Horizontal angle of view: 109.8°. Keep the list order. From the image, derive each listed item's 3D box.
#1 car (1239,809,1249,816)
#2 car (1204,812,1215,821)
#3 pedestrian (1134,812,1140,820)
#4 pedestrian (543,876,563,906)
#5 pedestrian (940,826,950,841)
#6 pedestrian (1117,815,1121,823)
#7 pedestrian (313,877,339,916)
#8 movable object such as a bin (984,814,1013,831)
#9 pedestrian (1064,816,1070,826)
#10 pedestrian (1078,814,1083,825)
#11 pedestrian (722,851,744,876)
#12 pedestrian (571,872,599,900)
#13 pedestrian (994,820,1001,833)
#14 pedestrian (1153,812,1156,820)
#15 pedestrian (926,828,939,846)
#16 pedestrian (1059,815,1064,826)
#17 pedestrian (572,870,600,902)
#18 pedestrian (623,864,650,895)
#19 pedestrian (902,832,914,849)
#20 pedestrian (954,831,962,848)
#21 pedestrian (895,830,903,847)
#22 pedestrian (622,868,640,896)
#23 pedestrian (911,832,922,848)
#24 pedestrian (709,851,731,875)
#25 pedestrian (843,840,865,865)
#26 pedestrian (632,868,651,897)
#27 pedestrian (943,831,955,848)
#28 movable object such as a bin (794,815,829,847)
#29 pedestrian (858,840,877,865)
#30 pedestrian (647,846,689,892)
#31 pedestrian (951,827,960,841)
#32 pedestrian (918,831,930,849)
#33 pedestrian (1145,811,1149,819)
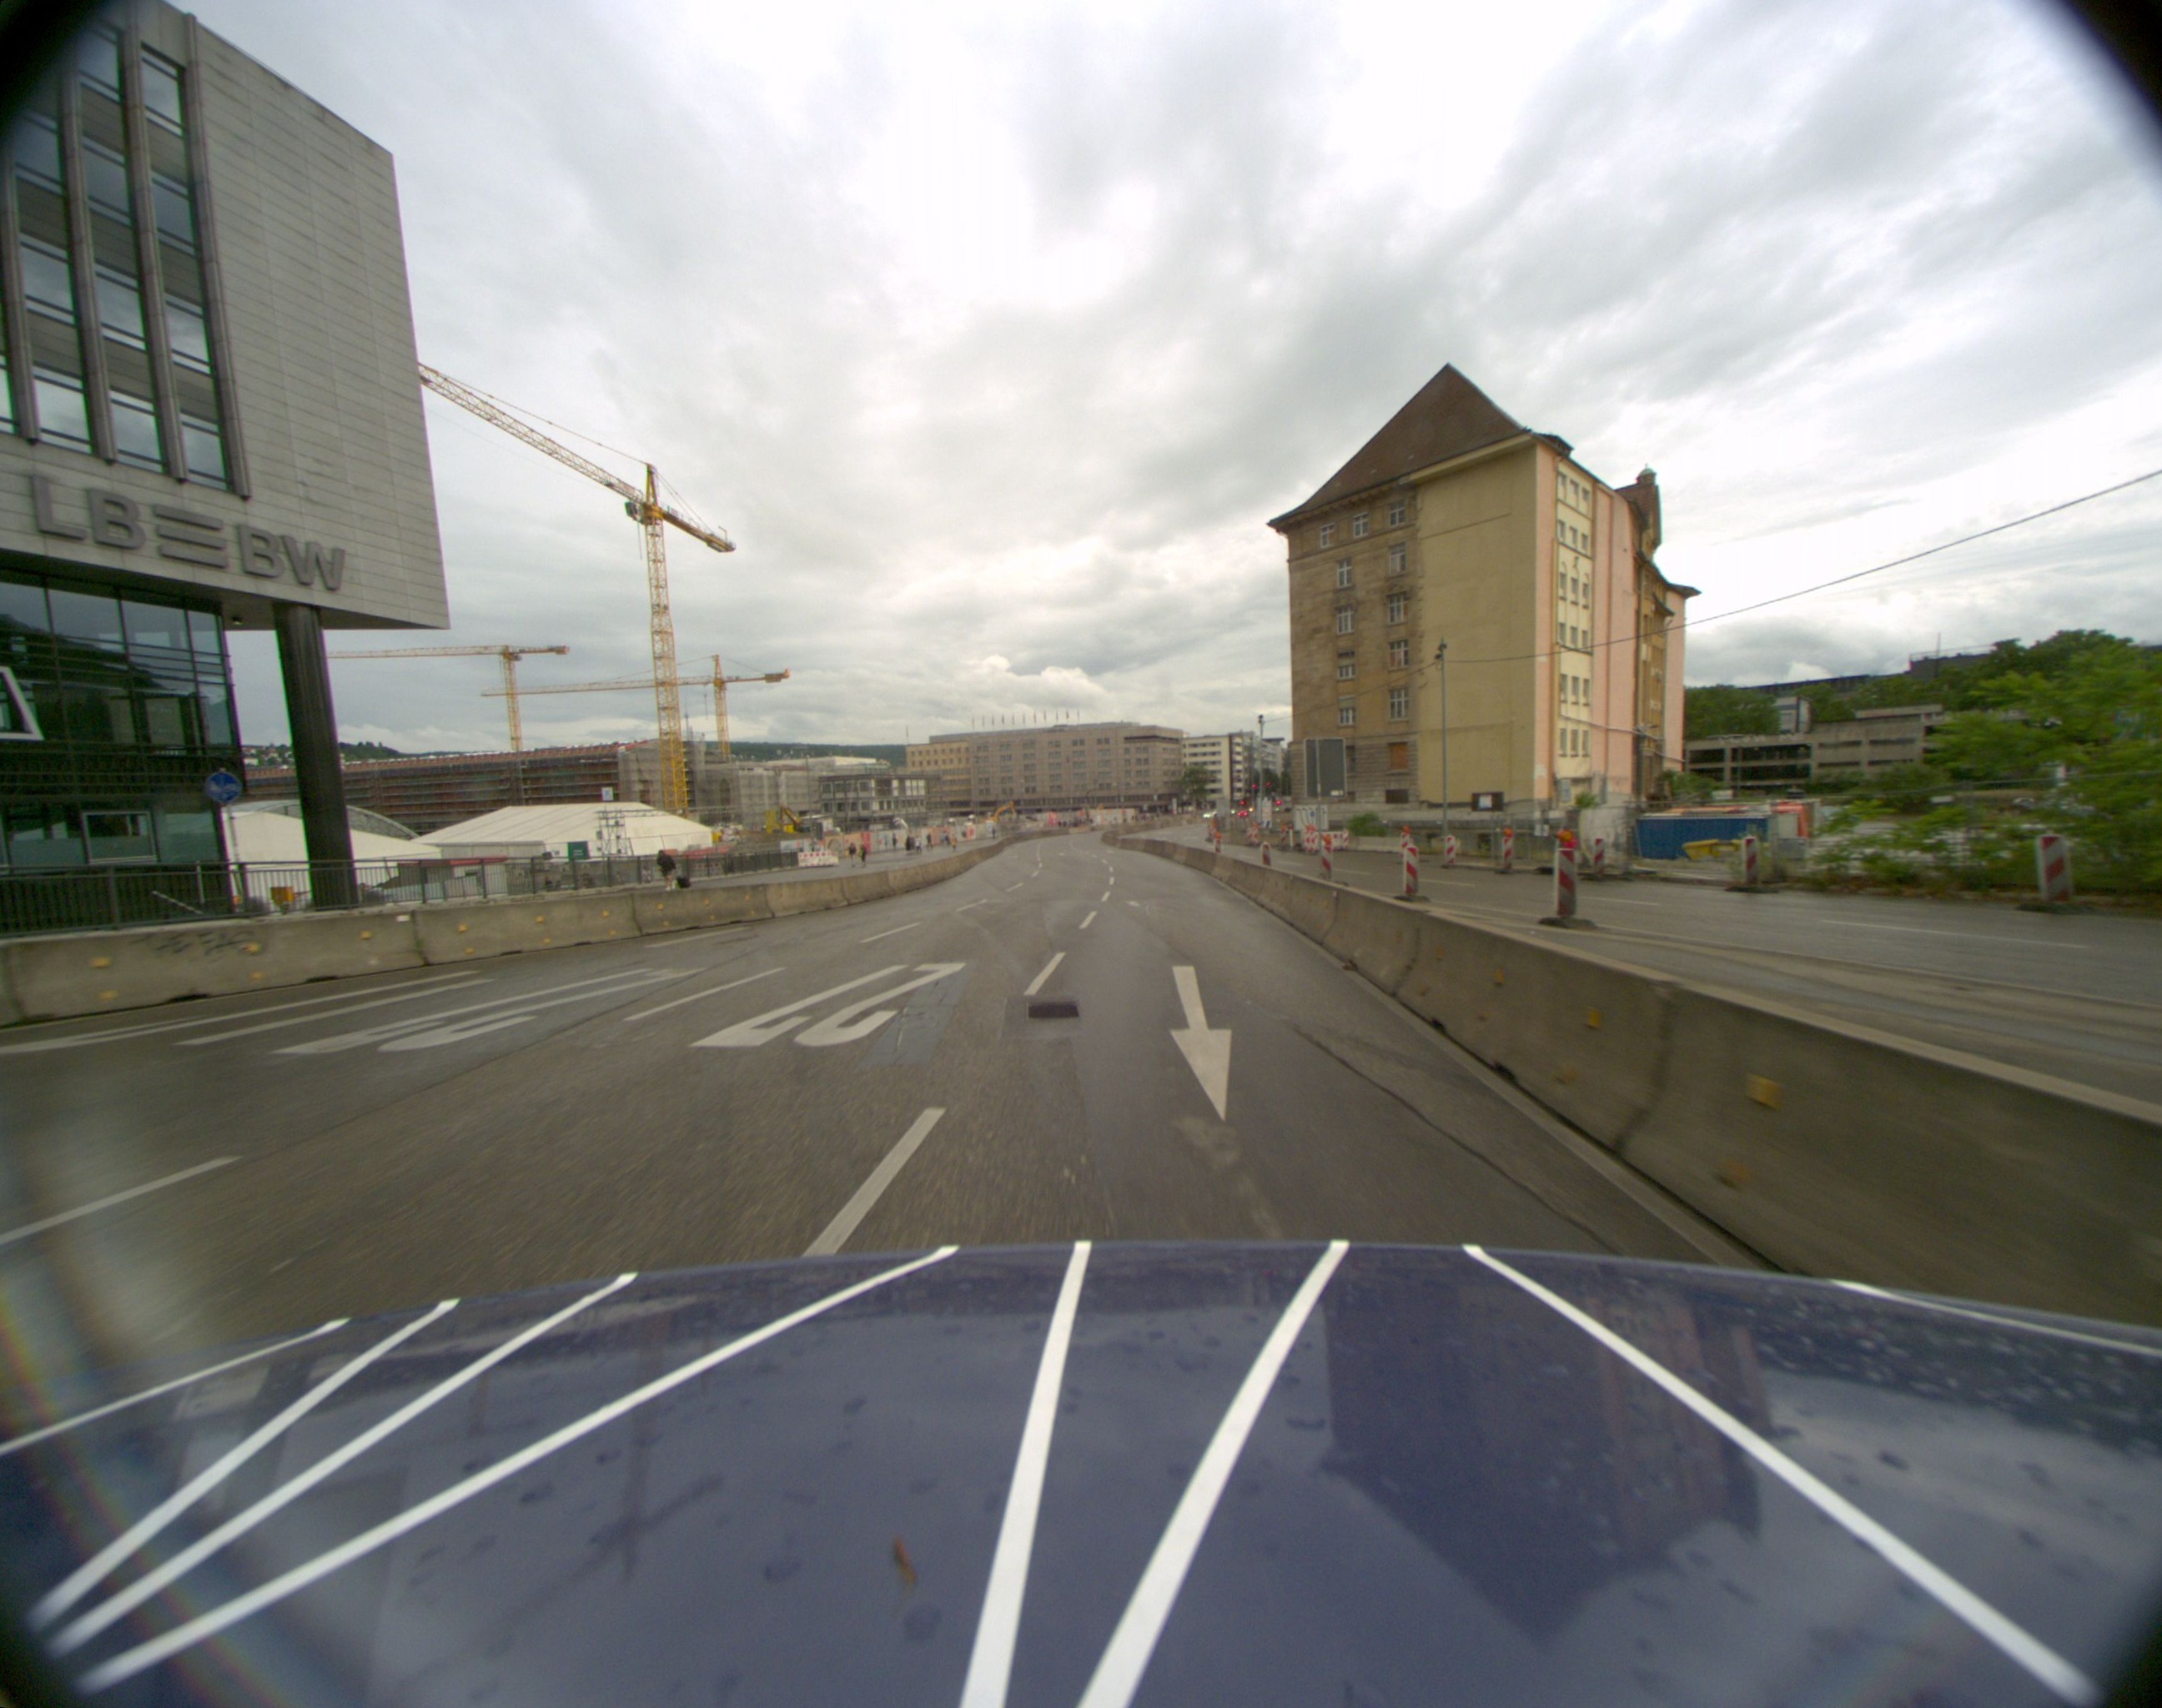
[{"bbox_3d":[35.992,-9.213,167.688,1.768,1.513,4.389,-1,4,17],"label":"car"},{"bbox_3d":[29.923,-8.834,177.013,1.995,2.002,4.005,0,2,20],"label":"car"},{"bbox_3d":[12.109,-8.200,163.330,1.097,1.752,0.907,2,5,24],"label":"pedestrian"},{"bbox_3d":[-29.948,2.079,43.062,0.704,1.607,0.566,0,5,30],"label":"pedestrian"},{"bbox_3d":[-15.822,-2.360,88.504,0.647,1.646,0.767,1,5,33],"label":"pedestrian"},{"bbox_3d":[7.403,-6.806,148.525,0.648,1.661,0.766,0,5,9],"label":"pedestrian"},{"bbox_3d":[-37.301,2.092,37.527,0.642,1.806,0.754,-5,5,-33],"label":"pedestrian"},{"bbox_3d":[-13.321,-5.089,122.867,4.135,2.522,1.994,-5,5,-38],"label":"movable object such as a bin"},{"bbox_3d":[-2.309,-5.522,125.372,0.648,1.638,0.947,0,5,11],"label":"pedestrian"},{"bbox_3d":[-0.101,-5.804,127.914,0.654,1.682,0.776,1,5,21],"label":"pedestrian"},{"bbox_3d":[-25.207,0.681,55.081,0.866,1.716,1.009,0,5,26],"label":"pedestrian"},{"bbox_3d":[-30.168,1.932,46.262,0.866,1.628,1.009,0,5,26],"label":"pedestrian"},{"bbox_3d":[-11.201,-3.723,101.640,0.746,1.697,0.687,0,5,11],"label":"pedestrian"},{"bbox_3d":[16.718,-8.655,171.698,0.653,1.752,0.548,0,5,8],"label":"pedestrian"},{"bbox_3d":[-15.938,-1.846,81.556,0.867,1.808,1.009,-1,4,16],"label":"pedestrian"},{"bbox_3d":[-3.282,-5.502,125.376,0.648,1.734,0.766,0,5,11],"label":"pedestrian"},{"bbox_3d":[-29.505,1.897,45.284,0.771,1.774,1.009,0,5,26],"label":"pedestrian"},{"bbox_3d":[-27.615,1.574,47.225,0.866,1.772,1.009,0,5,26],"label":"pedestrian"},{"bbox_3d":[-16.953,-1.332,74.515,0.715,1.545,1.009,-1,4,16],"label":"pedestrian"},{"bbox_3d":[-12.578,-1.496,77.549,0.649,1.624,0.907,-2,4,-3],"label":"pedestrian"},{"bbox_3d":[-19.200,-1.650,80.202,0.567,1.739,0.495,-1,5,15],"label":"pedestrian"},{"bbox_3d":[-27.237,1.704,45.990,0.753,1.628,0.586,-6,6,-44],"label":"pedestrian"},{"bbox_3d":[-16.154,-1.371,74.553,0.609,1.514,0.886,-1,4,16],"label":"pedestrian"},{"bbox_3d":[-26.365,0.637,55.539,0.866,1.680,1.009,0,5,26],"label":"pedestrian"},{"bbox_3d":[-14.960,-0.081,50.111,0.861,1.585,0.953,0,5,25],"label":"pedestrian"},{"bbox_3d":[-26.390,1.689,45.603,0.772,1.628,0.602,-6,6,-44],"label":"pedestrian"},{"bbox_3d":[-14.964,-1.684,86.325,0.818,1.839,0.933,1,5,33],"label":"pedestrian"},{"bbox_3d":[-30.342,-2.649,85.733,1.941,3.391,4.229,-2,4,4],"label":"movable object such as a bin"},{"bbox_3d":[-14.098,-0.114,50.165,0.732,1.566,0.805,-1,4,25],"label":"pedestrian"},{"bbox_3d":[-15.584,0.558,28.697,0.730,1.643,1.062,0,4,25],"label":"pedestrian"},{"bbox_3d":[-14.649,-2.335,88.502,0.647,1.545,0.767,1,5,33],"label":"pedestrian"},{"bbox_3d":[-15.425,-1.335,74.784,0.778,1.714,0.892,-1,4,16],"label":"pedestrian"},{"bbox_3d":[14.327,-8.432,164.556,0.756,1.752,0.766,0,5,8],"label":"pedestrian"}]
